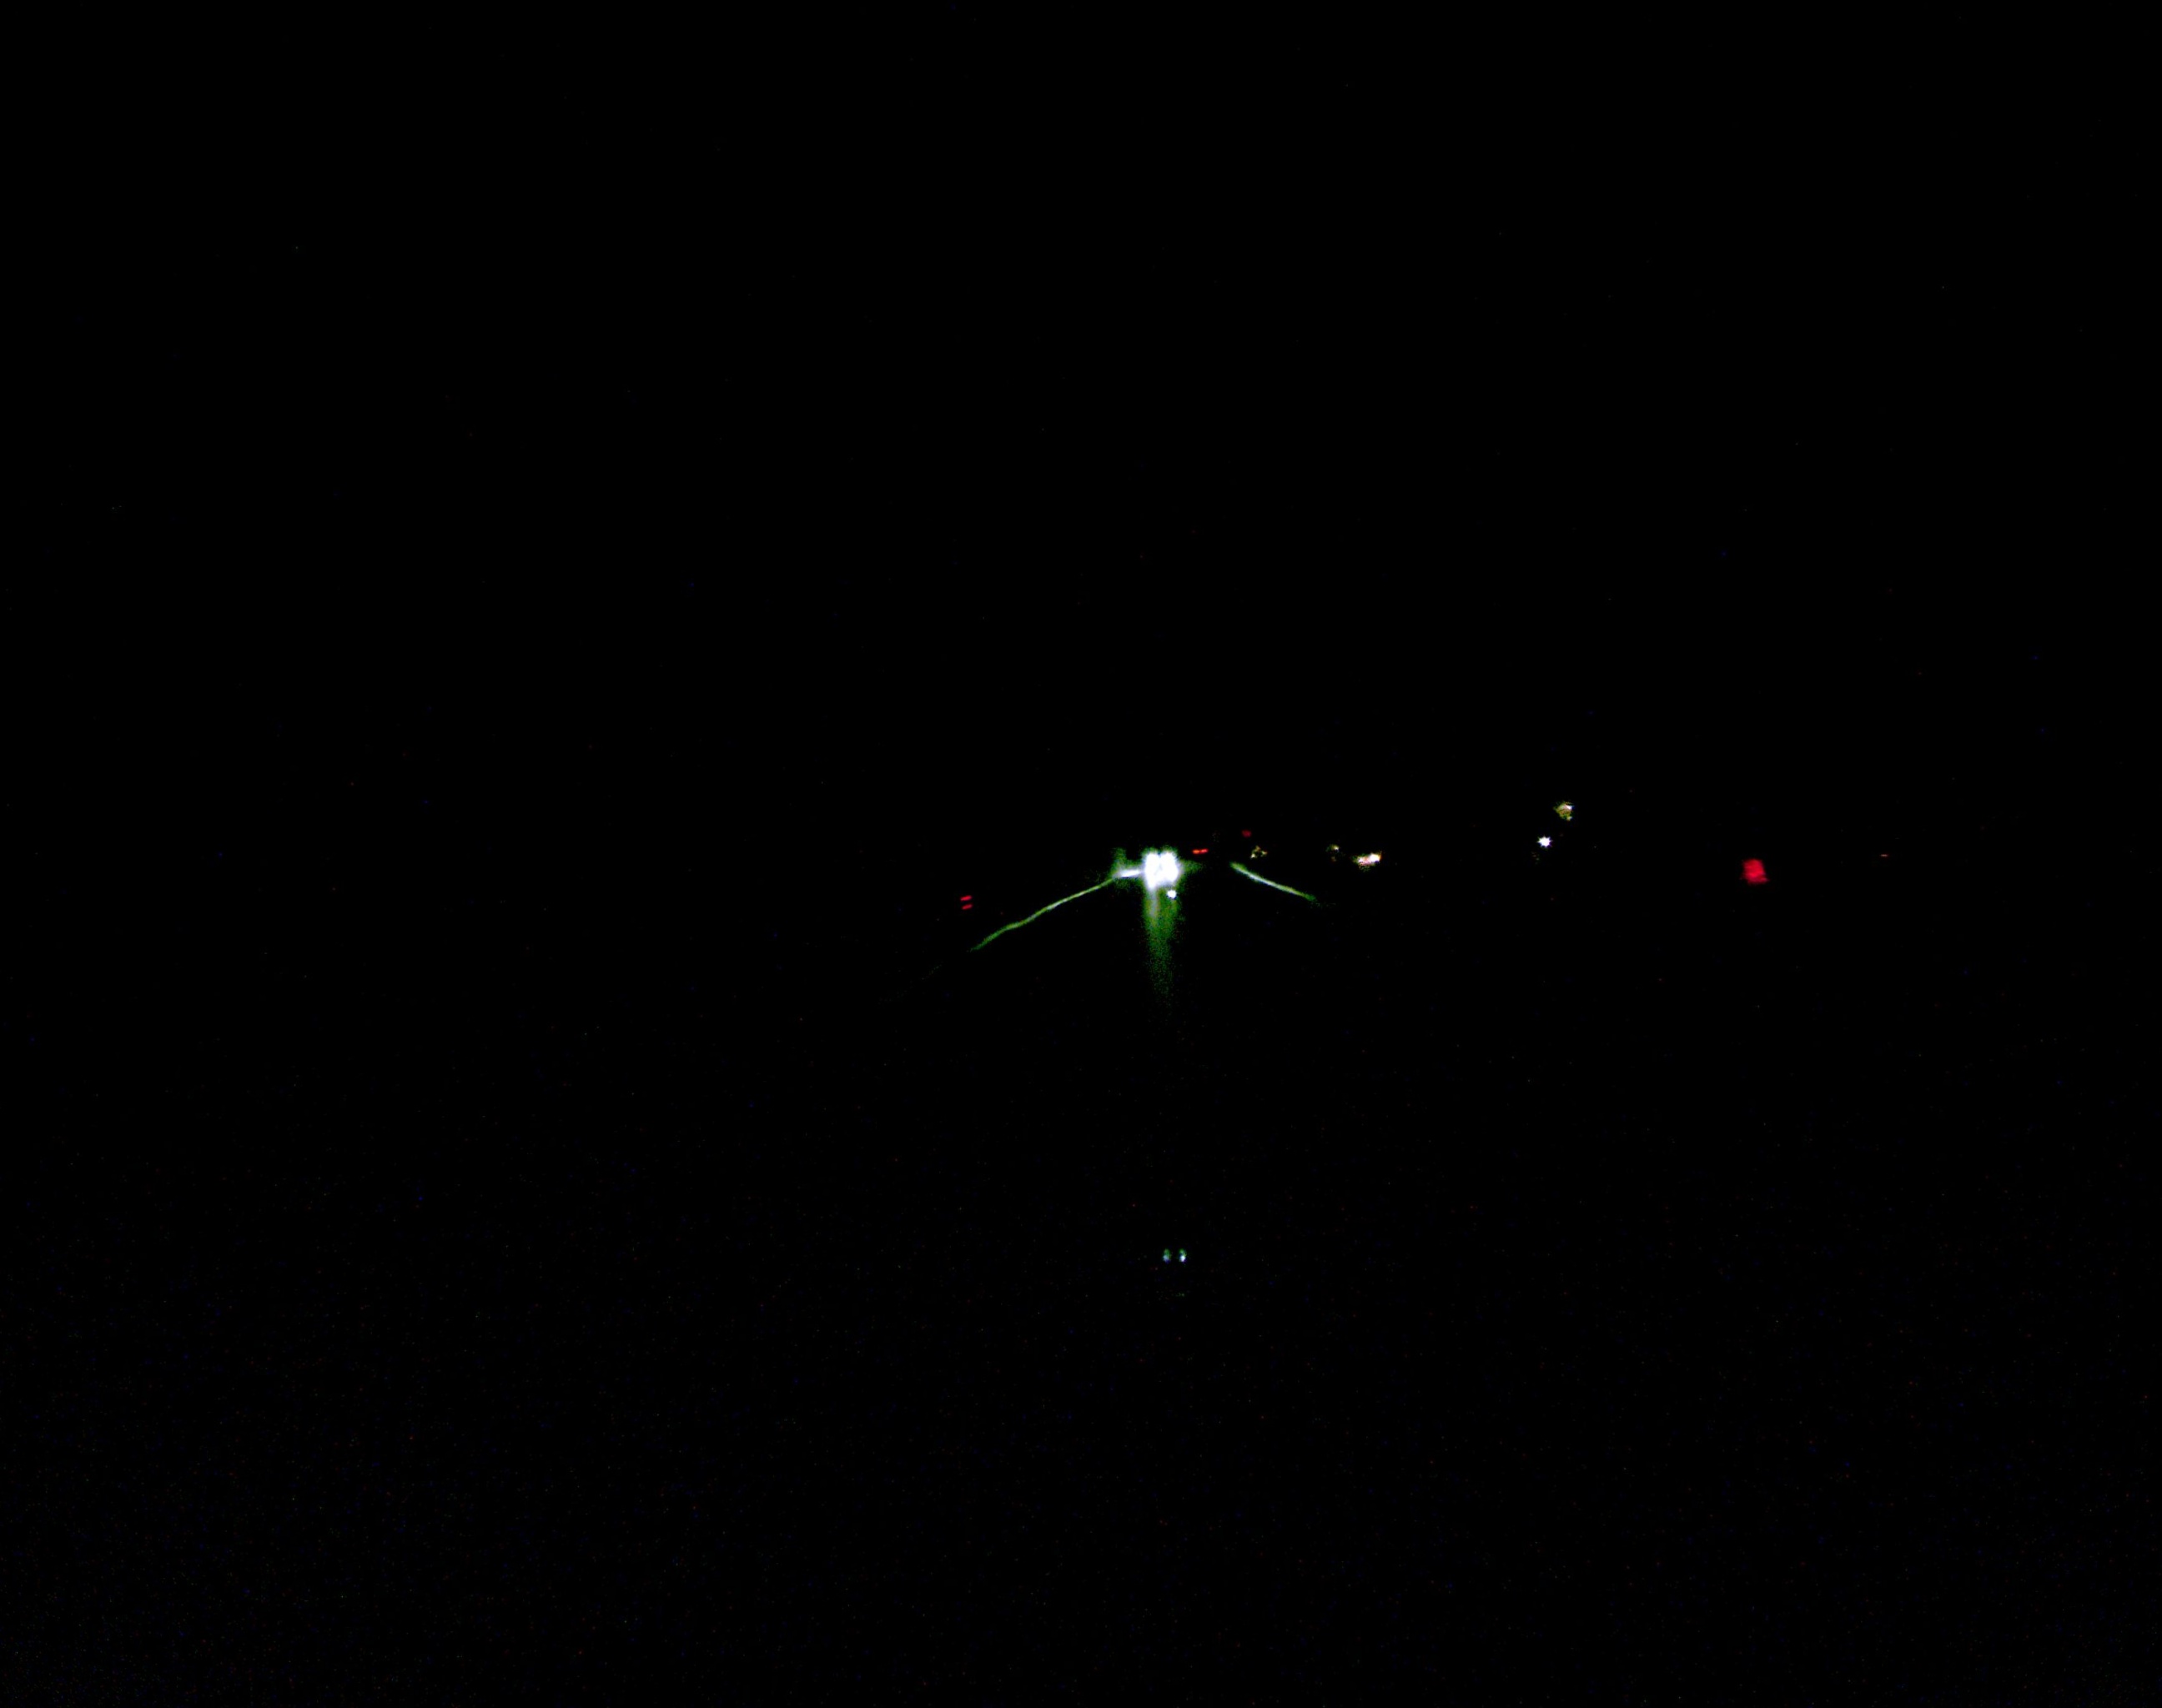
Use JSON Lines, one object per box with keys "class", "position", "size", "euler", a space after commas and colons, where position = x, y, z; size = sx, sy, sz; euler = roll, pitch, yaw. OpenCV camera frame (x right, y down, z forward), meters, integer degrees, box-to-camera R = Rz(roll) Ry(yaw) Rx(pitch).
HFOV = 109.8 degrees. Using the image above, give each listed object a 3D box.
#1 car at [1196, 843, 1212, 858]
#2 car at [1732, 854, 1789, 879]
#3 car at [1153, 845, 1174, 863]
{"class": "car", "position": [14.265, -0.396, 88.163], "size": [1.738, 1.533, 4.002], "euler": [-3, 1, 8]}
{"class": "car", "position": [48.059, 0.875, 53.817], "size": [1.657, 1.512, 3.453], "euler": [-3, 1, 17]}
{"class": "car", "position": [8.131, -0.016, 75.002], "size": [1.958, 1.712, 4.002], "euler": [-1, 1, 7]}
